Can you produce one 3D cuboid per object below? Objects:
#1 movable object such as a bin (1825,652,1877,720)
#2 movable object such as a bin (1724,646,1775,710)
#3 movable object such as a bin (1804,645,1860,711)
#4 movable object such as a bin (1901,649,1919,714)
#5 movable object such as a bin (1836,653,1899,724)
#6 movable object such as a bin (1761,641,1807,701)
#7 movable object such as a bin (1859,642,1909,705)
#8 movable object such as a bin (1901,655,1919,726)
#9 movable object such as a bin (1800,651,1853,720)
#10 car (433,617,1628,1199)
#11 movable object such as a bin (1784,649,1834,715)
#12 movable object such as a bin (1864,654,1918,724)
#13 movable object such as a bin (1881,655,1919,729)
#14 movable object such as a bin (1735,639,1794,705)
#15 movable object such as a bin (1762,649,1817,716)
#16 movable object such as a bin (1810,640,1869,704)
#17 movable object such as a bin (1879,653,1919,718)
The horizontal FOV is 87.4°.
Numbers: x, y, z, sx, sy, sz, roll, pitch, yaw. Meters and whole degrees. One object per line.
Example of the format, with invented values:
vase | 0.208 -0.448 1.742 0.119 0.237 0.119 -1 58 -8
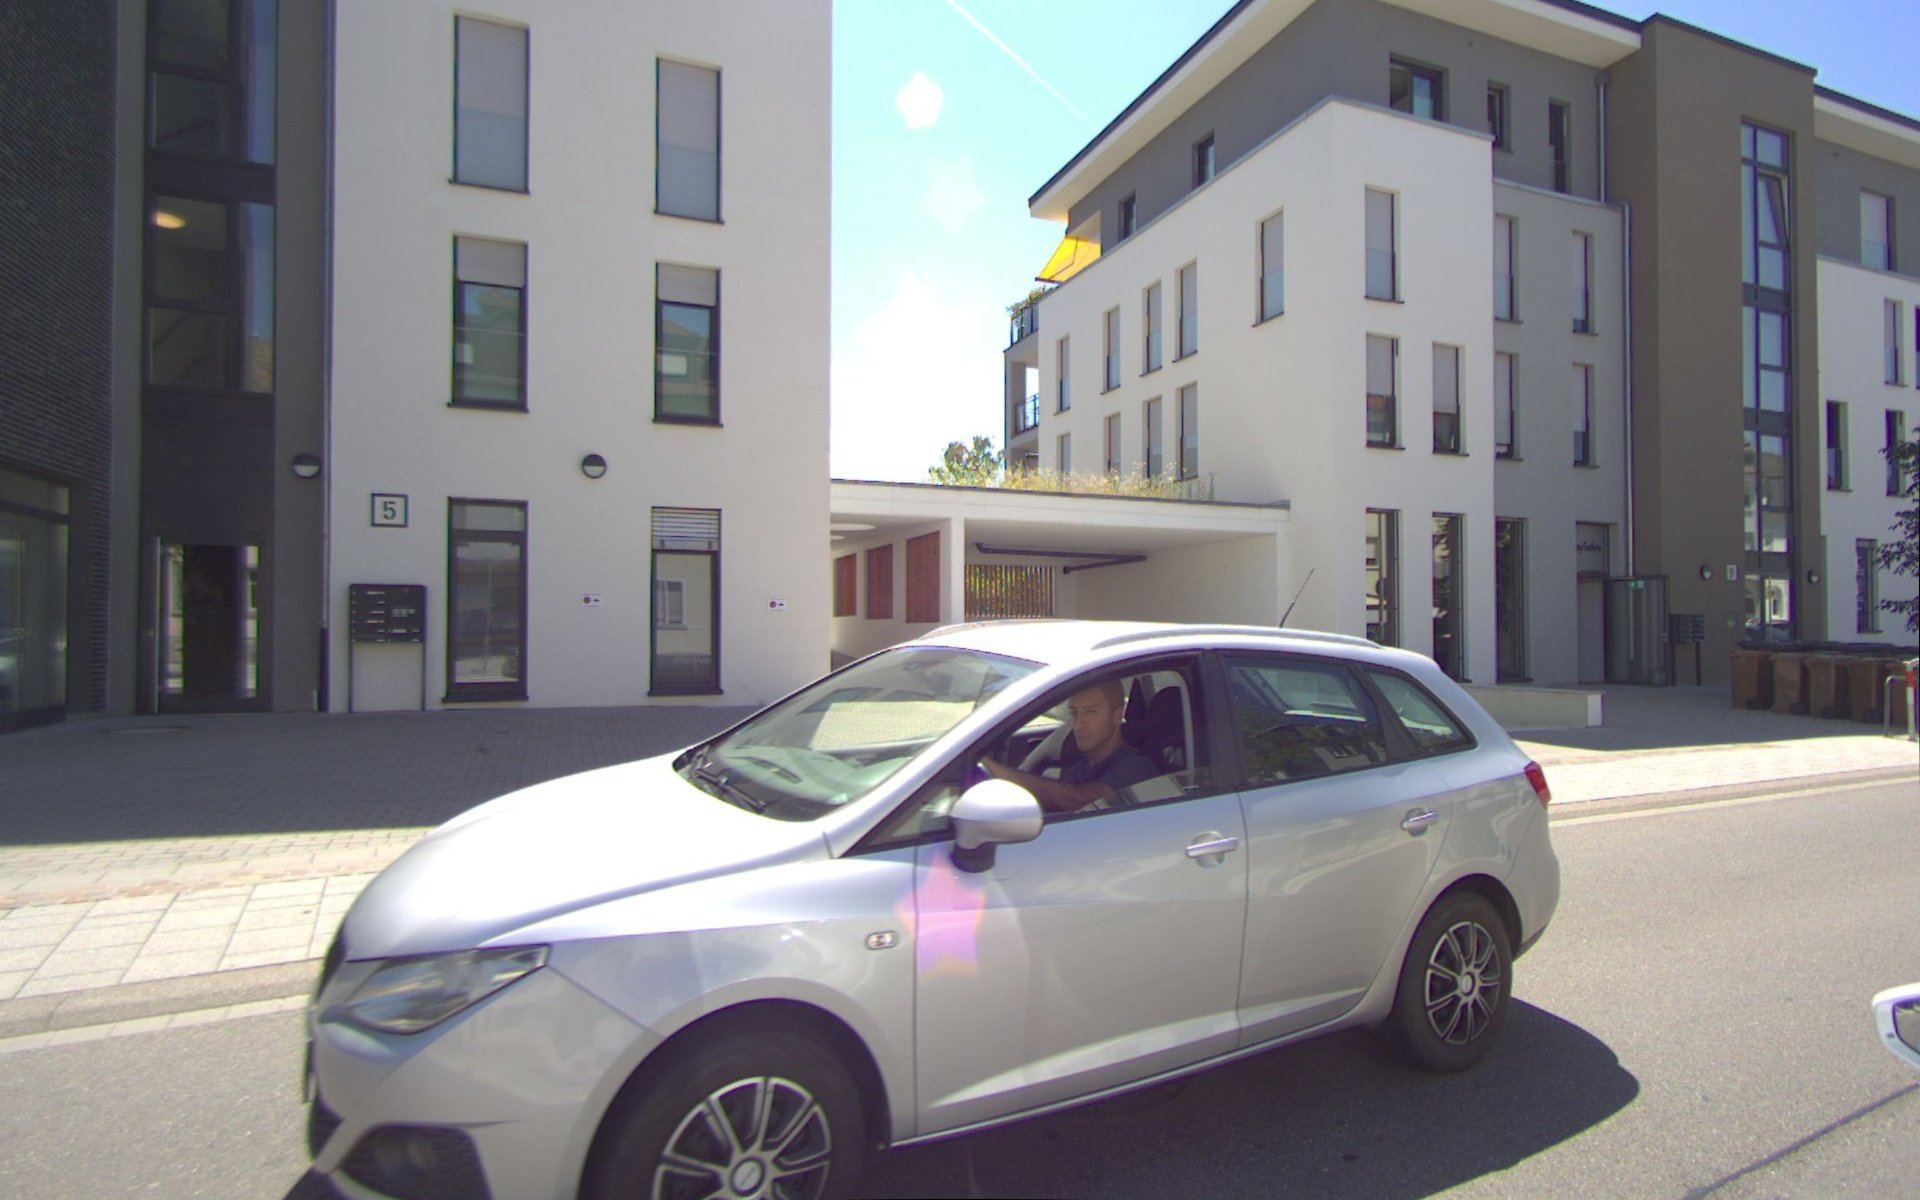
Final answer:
movable object such as a bin | 13.710 1.310 15.459 0.548 1.011 0.402 1 -1 -23
movable object such as a bin | 12.928 1.269 16.449 0.581 1.011 0.481 1 -1 -29
movable object such as a bin | 14.555 1.287 16.770 0.577 1.053 0.615 1 -1 -39
movable object such as a bin | 15.668 1.317 16.198 0.553 1.033 0.552 1 -1 -26
movable object such as a bin | 13.331 1.288 14.761 0.579 1.011 0.482 1 -1 -23
movable object such as a bin | 14.766 1.262 18.000 0.477 1.053 0.549 1 -1 -39
movable object such as a bin | 15.906 1.249 17.292 0.546 1.053 0.571 1 -1 -39
movable object such as a bin | 14.088 1.314 14.613 0.548 1.011 0.402 1 -1 -23
movable object such as a bin | 13.179 1.285 15.284 0.516 1.011 0.424 1 -1 -22
car | 0.368 0.804 3.437 3.801 1.415 1.659 1 0 -30
movable object such as a bin | 13.539 1.301 16.021 0.548 1.011 0.402 1 -1 -23
movable object such as a bin | 13.886 1.313 14.986 0.548 1.011 0.402 1 -1 -23
movable object such as a bin | 13.562 1.293 14.288 0.580 1.011 0.482 1 -1 -24
movable object such as a bin | 14.004 1.237 17.479 0.642 1.110 0.686 1 -1 -39
movable object such as a bin | 13.016 1.283 15.770 0.519 1.011 0.482 1 -1 -24
movable object such as a bin | 15.107 1.227 17.250 0.599 1.053 0.670 1 -1 -39
movable object such as a bin | 14.985 1.346 15.911 0.400 1.011 0.550 1 -2 -35
